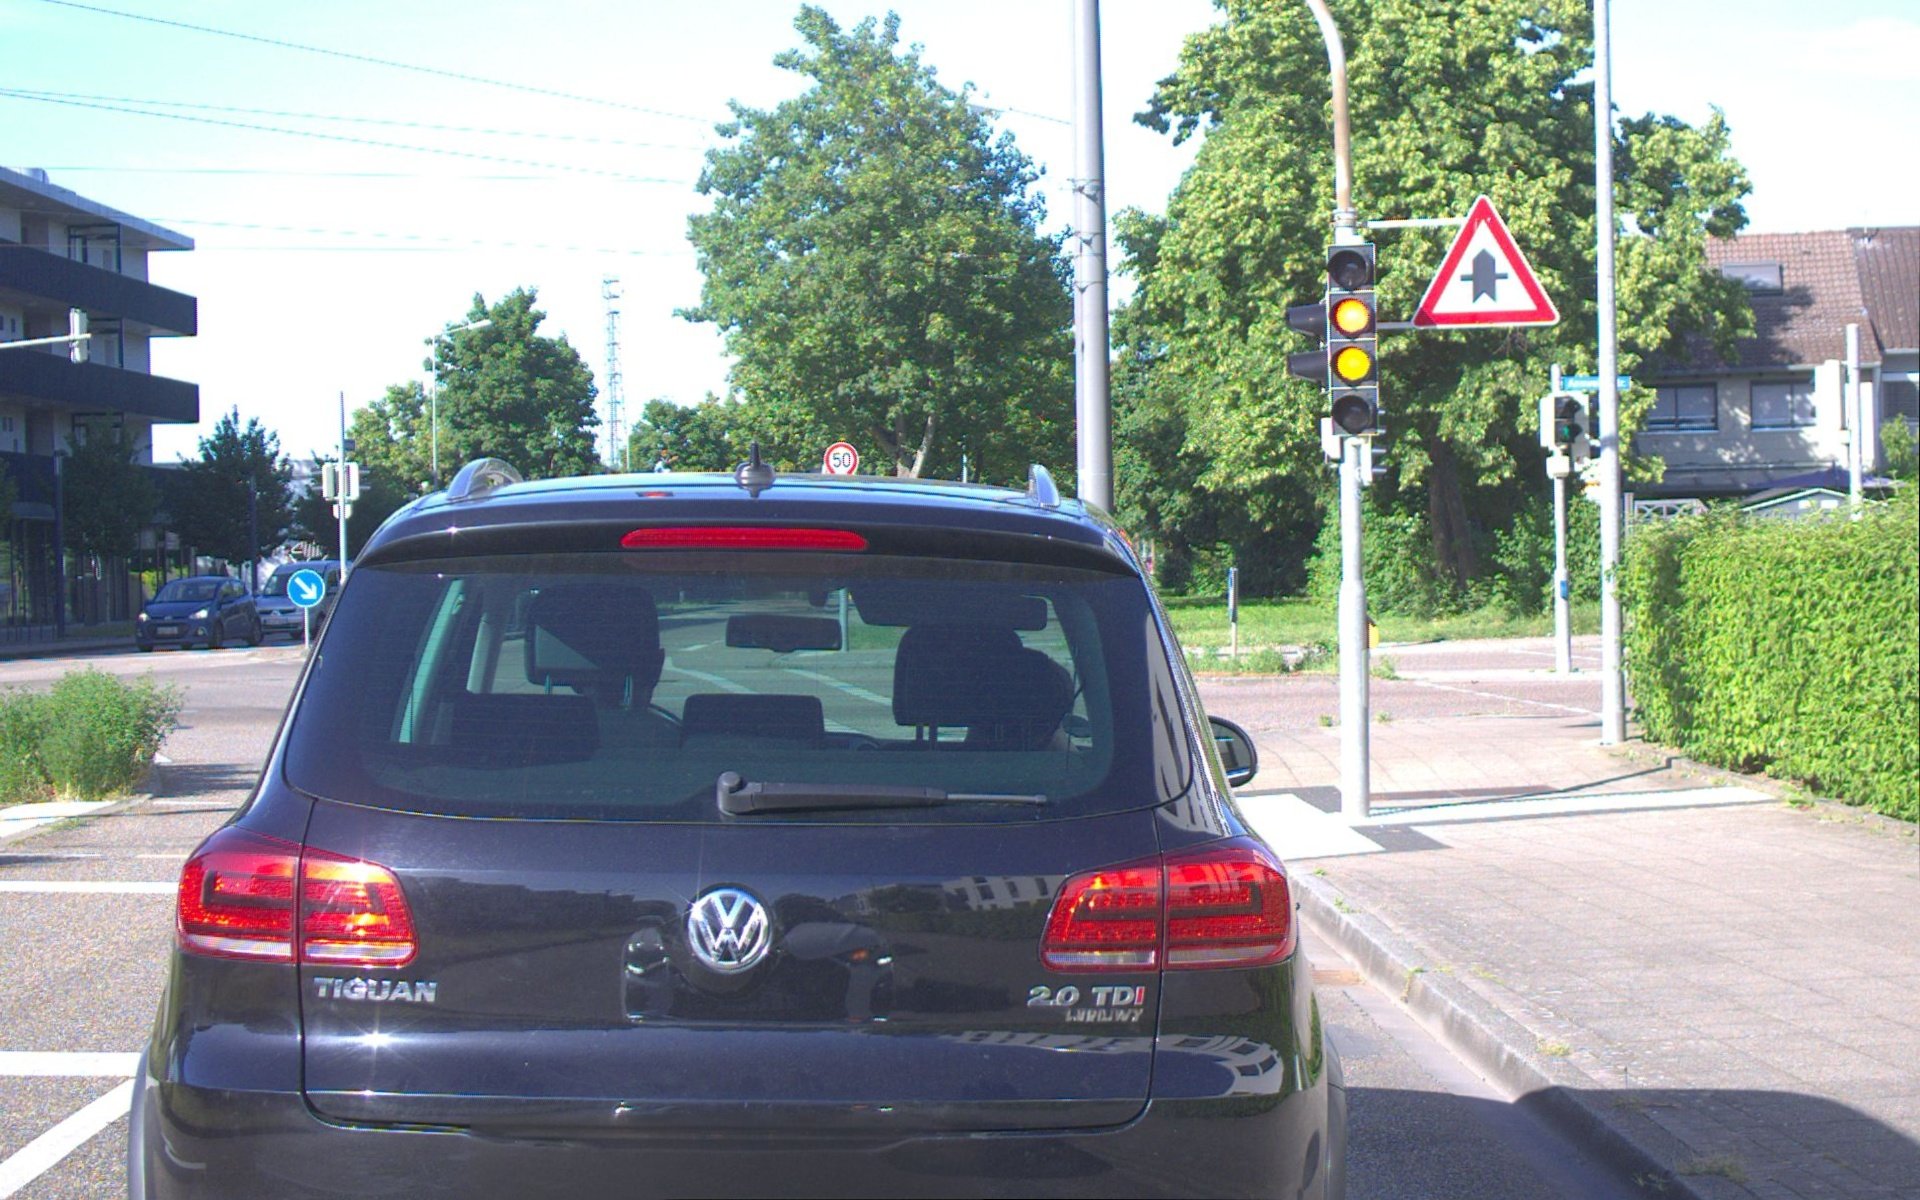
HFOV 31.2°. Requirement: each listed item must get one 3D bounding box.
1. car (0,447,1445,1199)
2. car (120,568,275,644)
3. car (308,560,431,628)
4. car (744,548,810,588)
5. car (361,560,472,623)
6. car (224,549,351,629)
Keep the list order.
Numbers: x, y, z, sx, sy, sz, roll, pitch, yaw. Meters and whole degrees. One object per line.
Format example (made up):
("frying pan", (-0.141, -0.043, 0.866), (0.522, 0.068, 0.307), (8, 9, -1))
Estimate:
("car", (-0.415, 0.615, 6.763), (1.929, 1.649, 4.515), (1, 1, -2))
("car", (-15.744, 0.110, 71.201), (1.696, 1.451, 4.451), (-1, 1, 8))
("car", (-14.325, -0.167, 83.554), (1.994, 1.482, 3.543), (-3, 1, 6))
("car", (-7.520, -1.341, 141.546), (1.994, 1.566, 3.999), (-1, 1, 8))
("car", (-14.118, -0.241, 89.509), (1.967, 1.529, 4.740), (-1, 1, 2))
("car", (-15.262, -0.272, 78.244), (1.993, 1.749, 4.362), (-1, 1, 0))
